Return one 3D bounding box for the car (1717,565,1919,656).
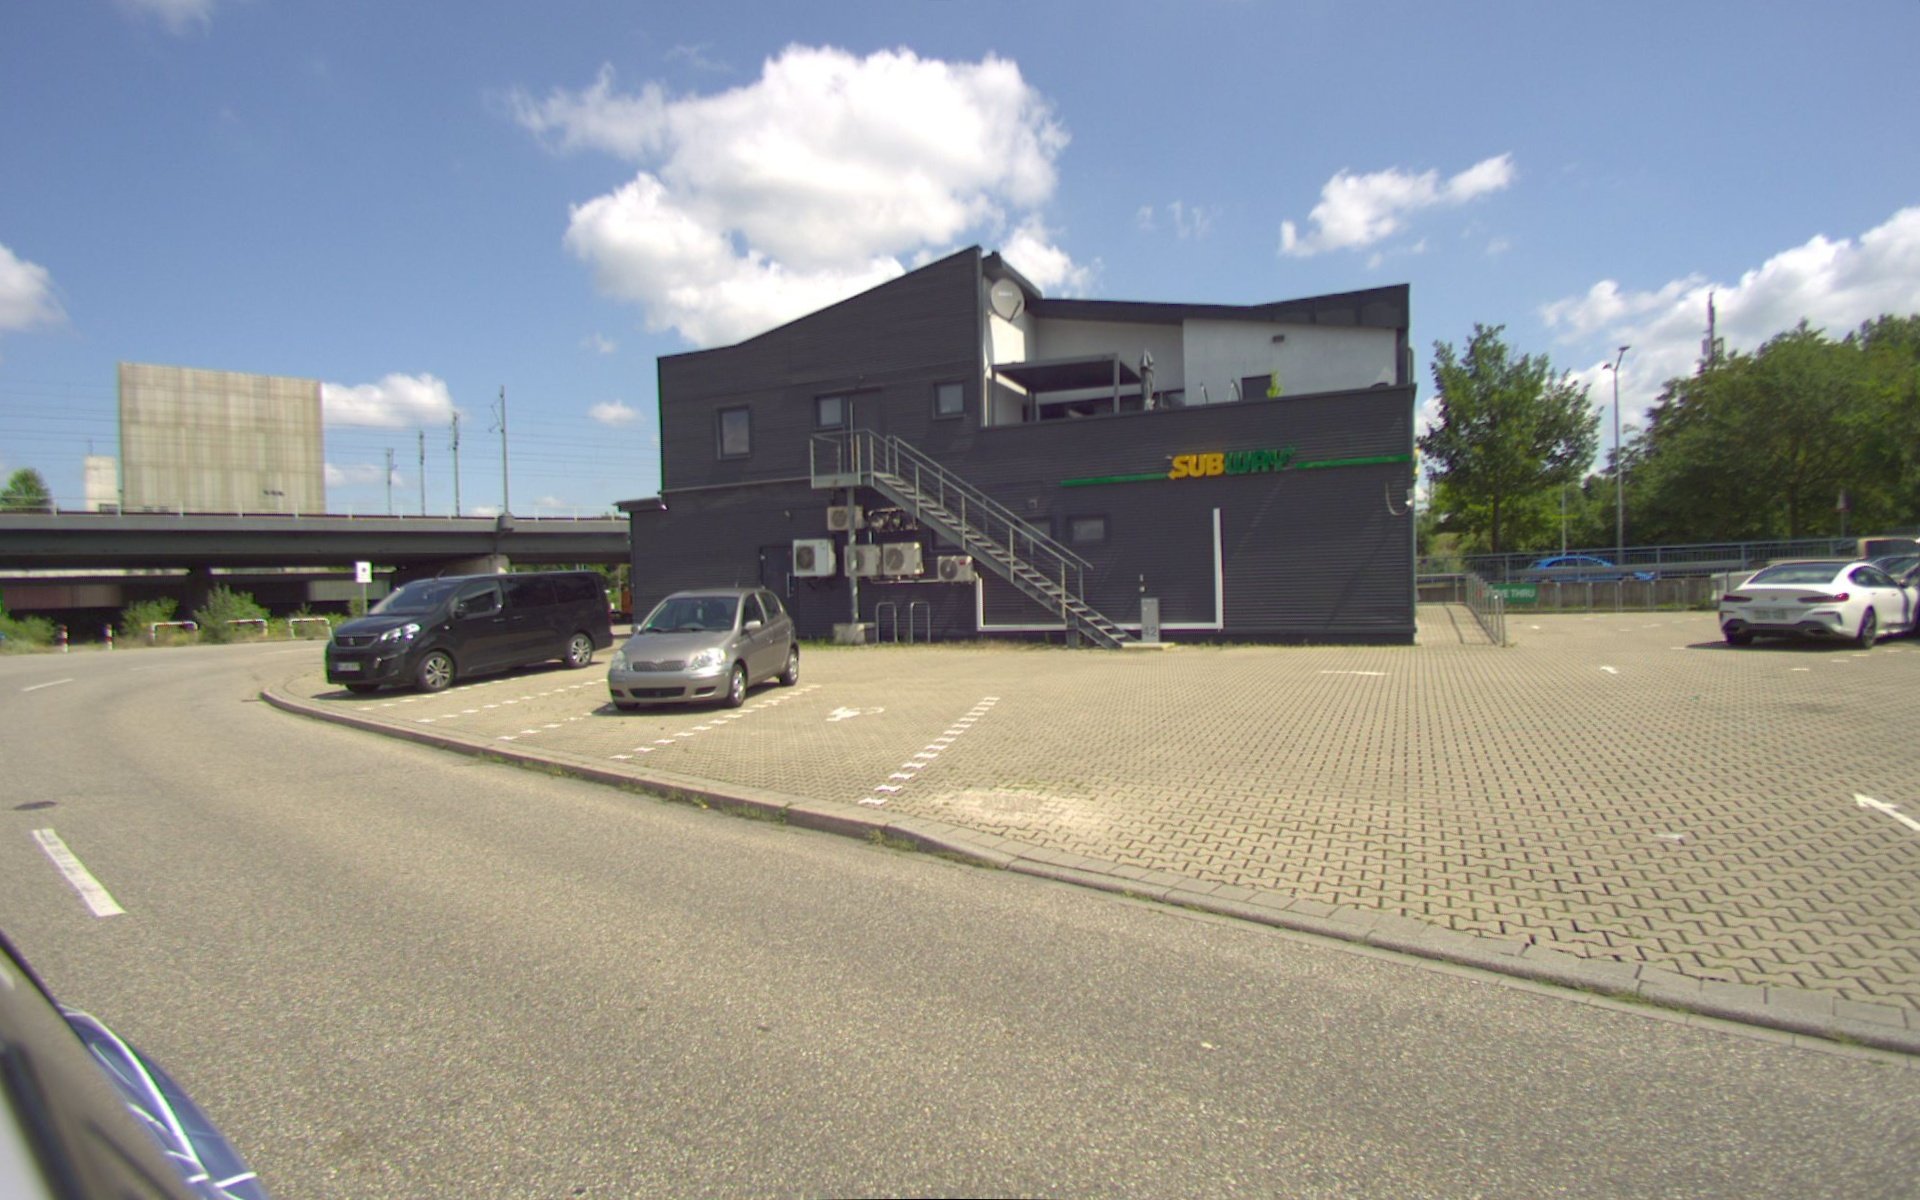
[{"bbox_3d":[14.745,0.112,17.118,3.969,1.325,1.943,-2,1,-35],"label":"car"}]

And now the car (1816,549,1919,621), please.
[{"bbox_3d":[23.024,-0.371,23.413,4.482,1.595,1.984,-1,0,24],"label":"car"}]

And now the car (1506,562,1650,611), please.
[{"bbox_3d":[22.756,-0.474,37.470,4.317,1.662,1.782,-1,0,26],"label":"car"}]

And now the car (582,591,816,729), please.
[{"bbox_3d":[-3.321,0.692,13.647,1.776,1.487,3.688,-2,1,7],"label":"car"}]

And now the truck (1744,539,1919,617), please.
[{"bbox_3d":[25.092,-0.600,28.145,4.809,2.029,1.944,-1,0,24],"label":"truck"}]

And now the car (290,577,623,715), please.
[{"bbox_3d":[-8.646,0.656,18.067,1.986,1.930,5.306,-1,2,22],"label":"car"}]
